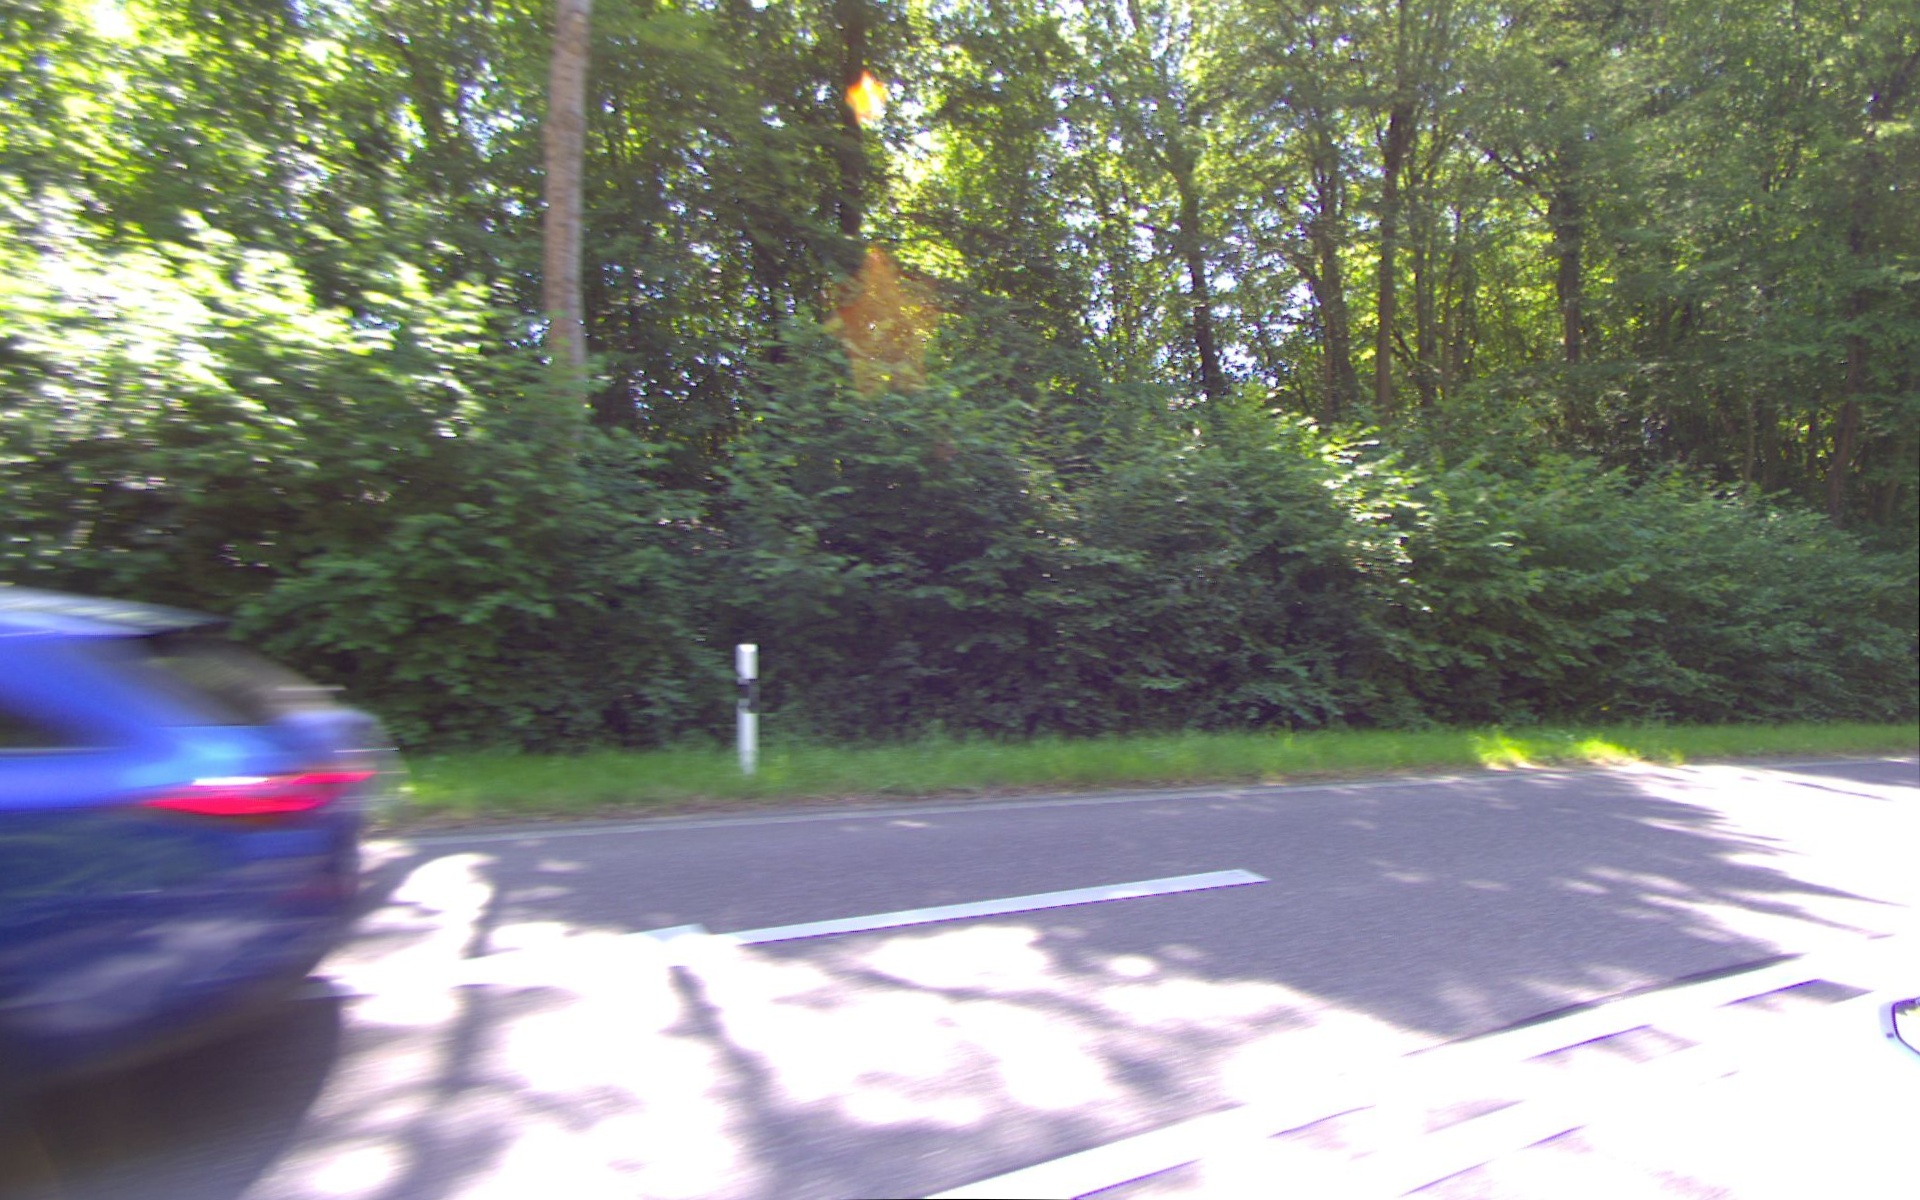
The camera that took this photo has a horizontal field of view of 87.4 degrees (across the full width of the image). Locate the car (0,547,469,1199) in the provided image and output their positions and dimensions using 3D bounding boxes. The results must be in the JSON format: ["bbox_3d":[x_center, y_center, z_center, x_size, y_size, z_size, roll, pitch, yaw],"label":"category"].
[{"bbox_3d":[-3.611,0.561,2.389,4.303,1.424,1.783,2,-2,-26],"label":"car"}]
